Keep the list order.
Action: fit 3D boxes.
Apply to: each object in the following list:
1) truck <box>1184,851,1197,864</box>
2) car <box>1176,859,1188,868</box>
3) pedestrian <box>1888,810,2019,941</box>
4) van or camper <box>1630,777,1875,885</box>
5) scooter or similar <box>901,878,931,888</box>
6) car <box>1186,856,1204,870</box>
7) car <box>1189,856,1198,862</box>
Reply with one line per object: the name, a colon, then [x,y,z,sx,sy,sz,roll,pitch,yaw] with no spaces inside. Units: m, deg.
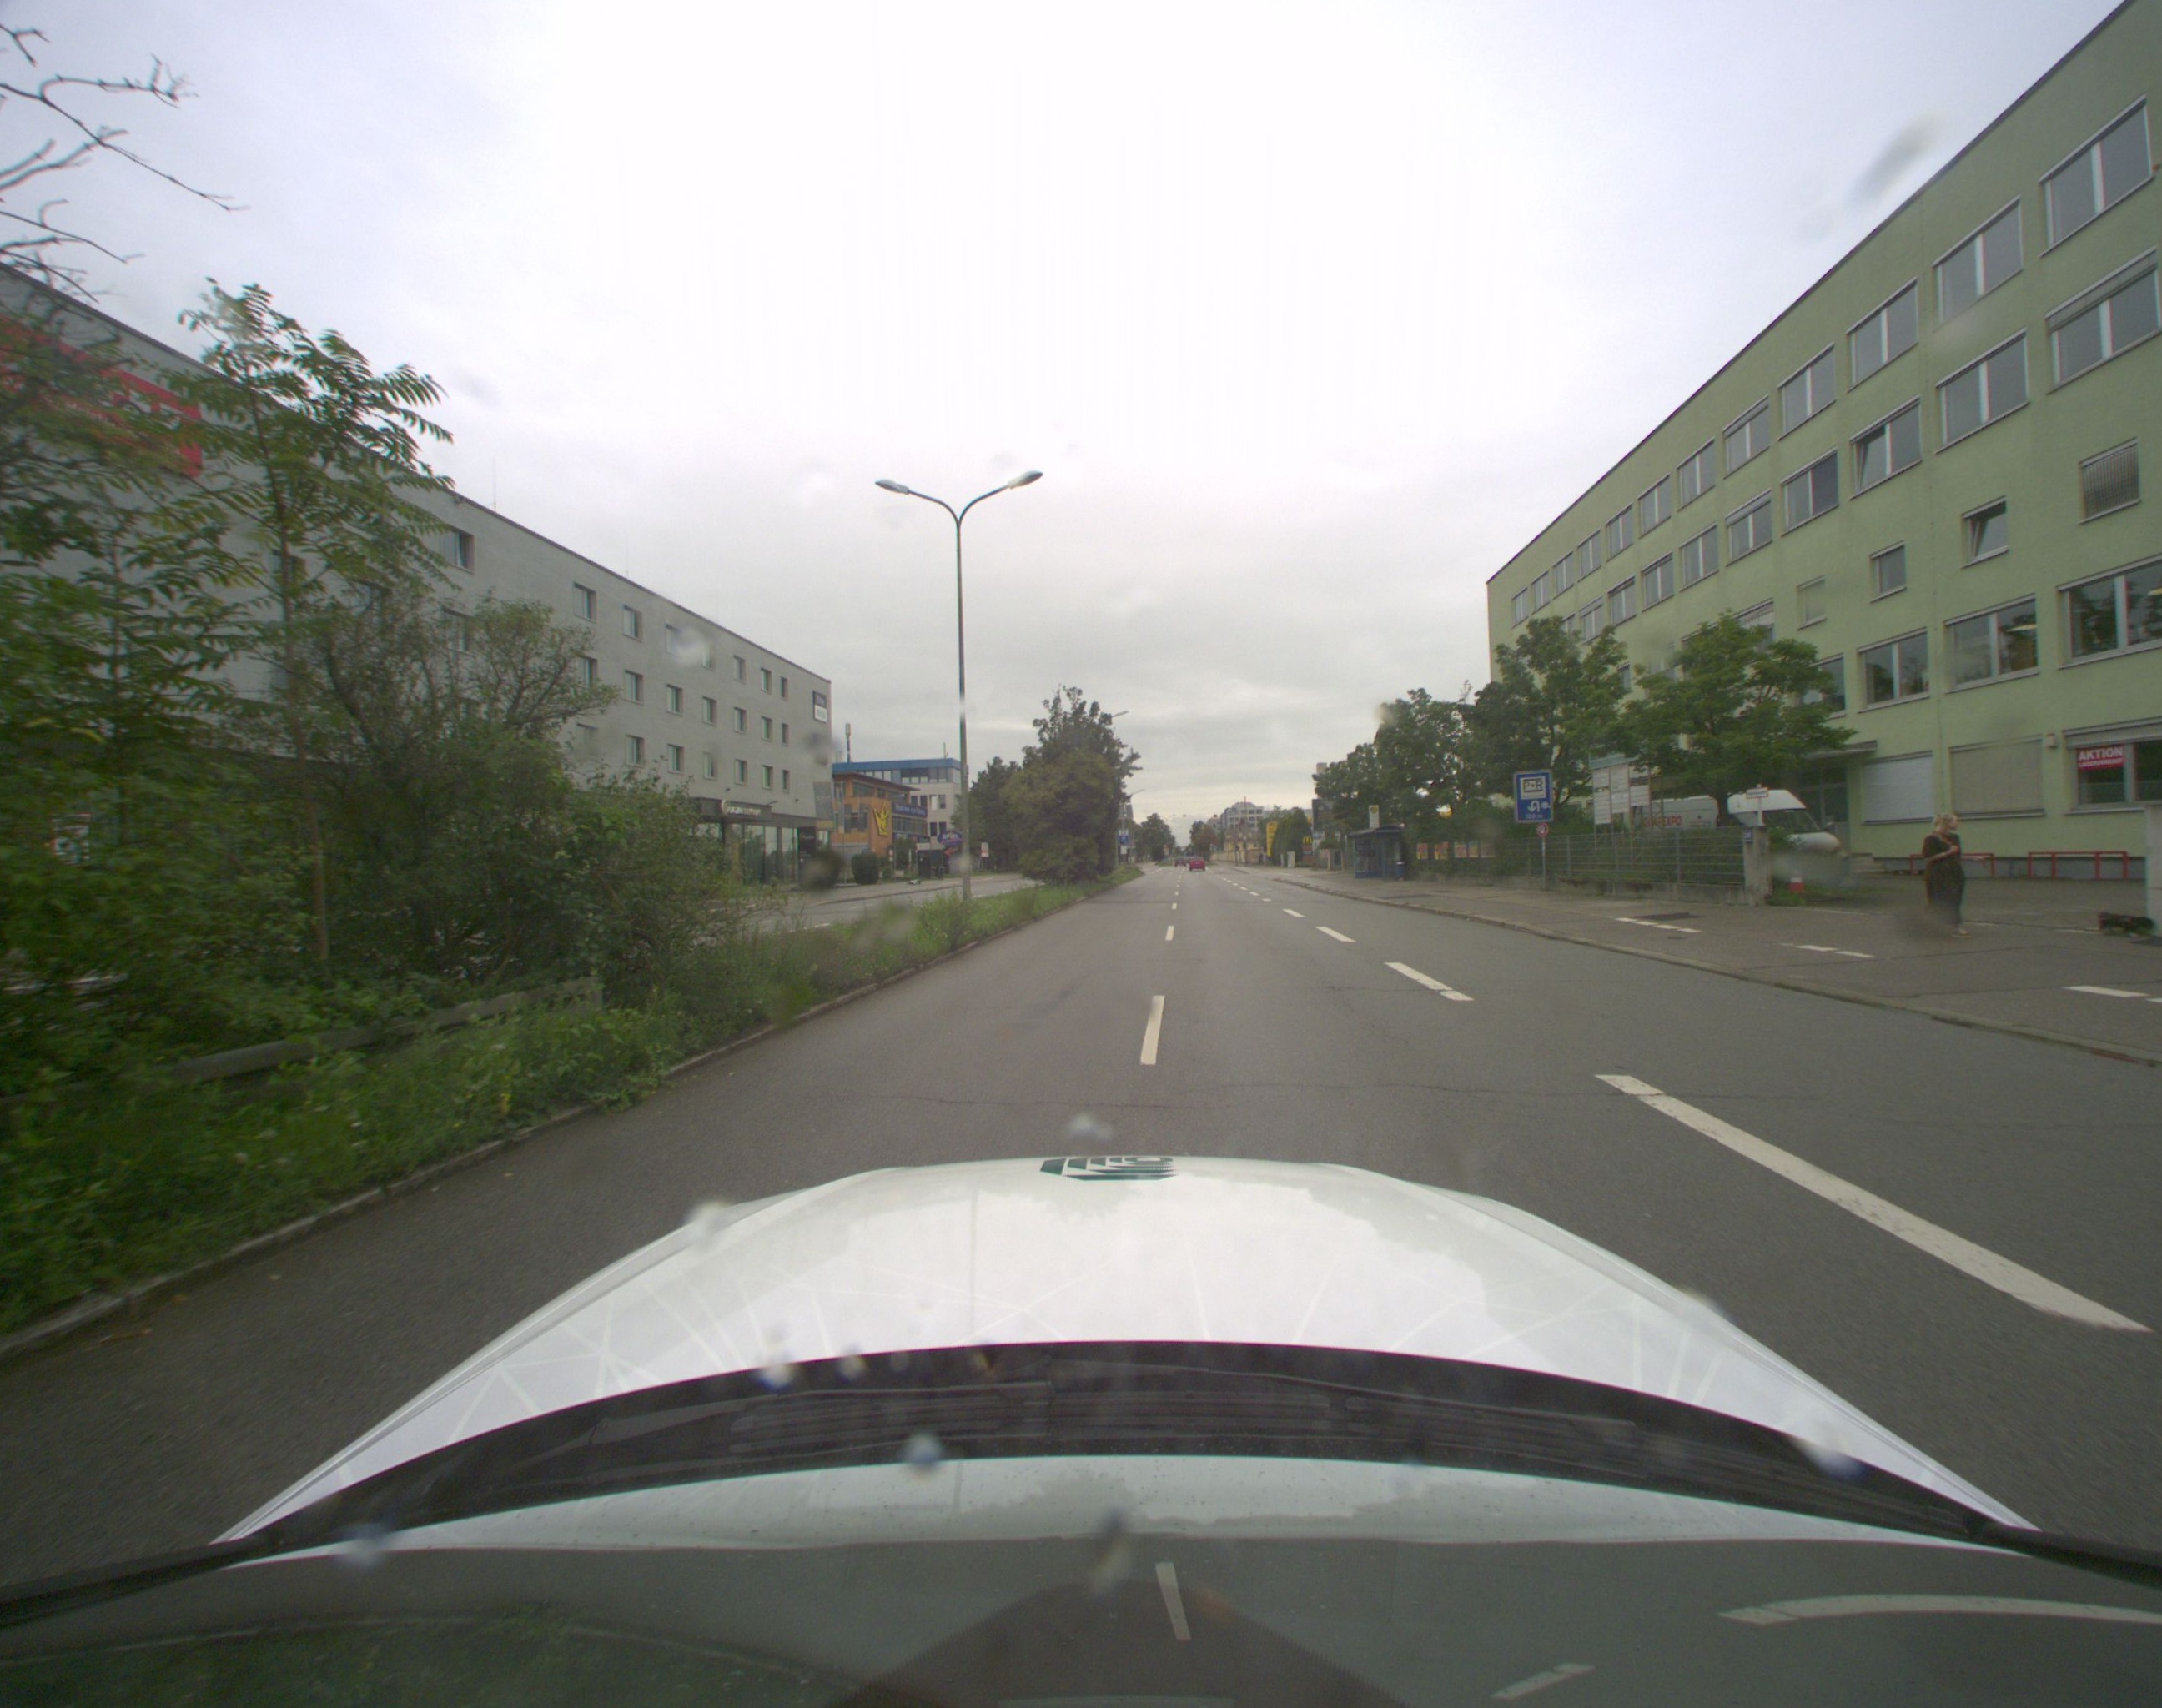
truck: [29.946,0.905,223.190,2.954,3.285,7.927,-2,-1,5]
car: [16.477,1.528,133.541,1.794,1.432,4.006,-2,-1,5]
pedestrian: [12.344,0.294,11.559,0.754,1.728,0.897,-5,-1,7]
van or camper: [18.243,-0.527,22.833,2.110,2.497,7.413,-2,0,12]
scooter or similar: [-11.801,2.103,58.309,1.461,0.585,2.323,-2,-4,4]
car: [13.221,1.039,94.375,1.853,1.618,4.005,-1,-1,5]
car: [25.480,1.113,184.809,1.794,1.433,4.006,-2,-1,5]
